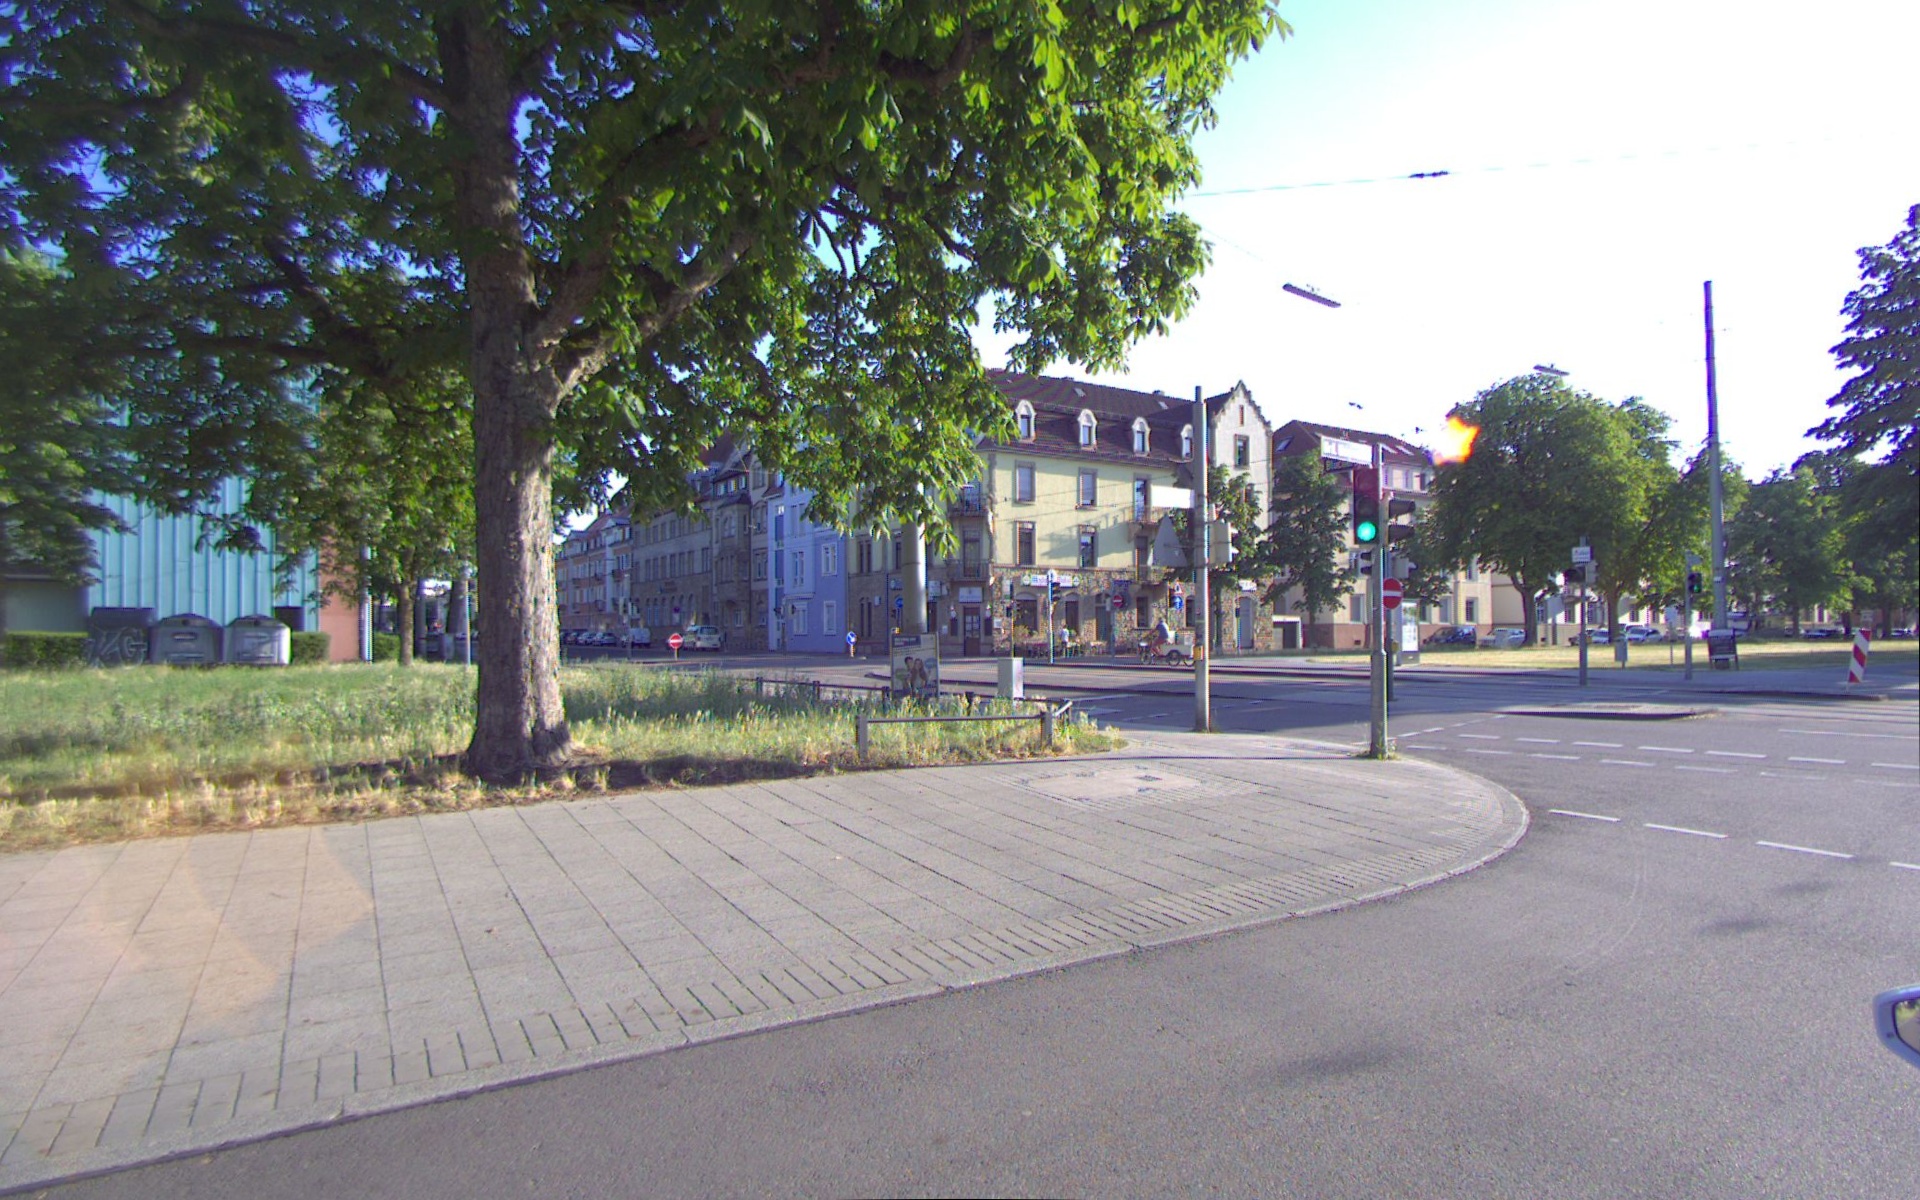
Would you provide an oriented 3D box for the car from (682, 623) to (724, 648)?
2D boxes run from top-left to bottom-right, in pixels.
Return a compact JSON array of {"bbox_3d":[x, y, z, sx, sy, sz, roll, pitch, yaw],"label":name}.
[{"bbox_3d":[-20.018,2.780,78.177,2.011,1.760,3.743,2,0,-34],"label":"car"}]

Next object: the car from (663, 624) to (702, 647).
[{"bbox_3d":[-22.967,2.899,83.145,1.980,1.763,3.962,1,0,-34],"label":"car"}]

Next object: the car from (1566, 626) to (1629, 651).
[{"bbox_3d":[46.452,2.812,73.193,4.517,1.681,1.984,2,0,-30],"label":"car"}]

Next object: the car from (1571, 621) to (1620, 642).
[{"bbox_3d":[52.833,2.632,83.458,4.142,1.654,1.707,2,0,-30],"label":"car"}]

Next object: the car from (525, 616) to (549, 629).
[{"bbox_3d":[-58.532,3.062,138.949,1.911,1.715,3.952,2,-1,-41],"label":"car"}]

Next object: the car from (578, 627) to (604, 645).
[{"bbox_3d":[-39.784,3.866,108.245,1.816,1.692,3.911,2,0,-34],"label":"car"}]

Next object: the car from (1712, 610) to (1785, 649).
[{"bbox_3d":[67.869,2.504,86.444,7.764,3.173,2.379,1,1,-32],"label":"car"}]

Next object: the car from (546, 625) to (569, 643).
[{"bbox_3d":[-48.986,4.107,122.097,1.805,2.040,3.924,2,0,-34],"label":"car"}]

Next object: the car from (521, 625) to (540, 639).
[{"bbox_3d":[-57.560,4.321,134.599,1.713,1.694,3.638,2,0,-33],"label":"car"}]

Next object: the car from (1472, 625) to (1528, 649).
[{"bbox_3d":[40.956,2.796,76.214,3.953,1.681,1.984,2,0,-30],"label":"car"}]

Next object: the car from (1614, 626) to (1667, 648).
[{"bbox_3d":[51.618,2.779,76.192,4.372,1.575,1.785,0,1,-34],"label":"car"}]

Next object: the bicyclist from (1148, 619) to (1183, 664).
[{"bbox_3d":[8.068,1.629,39.461,0.864,1.746,1.141,1,-3,-27],"label":"bicyclist"}]

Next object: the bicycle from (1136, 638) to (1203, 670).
[{"bbox_3d":[8.137,2.098,39.281,0.863,1.176,3.063,1,-3,-26],"label":"bicycle"}]

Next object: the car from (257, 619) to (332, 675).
[{"bbox_3d":[-22.731,1.546,34.352,1.979,1.693,5.175,2,-1,-34],"label":"car"}]

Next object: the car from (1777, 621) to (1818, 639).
[{"bbox_3d":[86.989,3.135,104.329,4.323,1.681,1.984,2,0,-30],"label":"car"}]

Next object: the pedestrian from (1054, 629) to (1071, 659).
[{"bbox_3d":[5.751,2.463,56.292,0.676,1.646,0.612,2,0,-34],"label":"pedestrian"}]

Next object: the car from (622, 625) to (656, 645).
[{"bbox_3d":[-30.007,3.232,93.919,1.980,1.694,3.743,2,0,-34],"label":"car"}]

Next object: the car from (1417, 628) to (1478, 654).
[{"bbox_3d":[35.569,3.005,73.249,4.261,1.759,1.984,2,0,-30],"label":"car"}]

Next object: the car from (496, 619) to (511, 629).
[{"bbox_3d":[-71.143,3.790,156.657,1.534,1.387,3.428,2,0,-34],"label":"car"}]

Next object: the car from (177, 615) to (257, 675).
[{"bbox_3d":[-24.604,1.439,33.336,1.949,1.694,5.169,2,0,-36],"label":"car"}]

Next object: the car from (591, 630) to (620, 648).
[{"bbox_3d":[-36.586,3.994,103.645,1.980,1.694,3.743,2,0,-34],"label":"car"}]

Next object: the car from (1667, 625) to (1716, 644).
[{"bbox_3d":[66.840,3.150,91.733,4.517,1.681,1.984,2,0,-30],"label":"car"}]

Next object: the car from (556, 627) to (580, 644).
[{"bbox_3d":[-46.001,4.137,117.735,1.782,1.855,3.755,2,0,-34],"label":"car"}]

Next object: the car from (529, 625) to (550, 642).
[{"bbox_3d":[-54.772,4.373,130.900,1.756,2.040,3.790,2,0,-34],"label":"car"}]

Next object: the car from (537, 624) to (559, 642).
[{"bbox_3d":[-51.964,4.171,126.666,1.789,2.040,3.772,2,0,-33],"label":"car"}]

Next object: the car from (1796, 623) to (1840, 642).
[{"bbox_3d":[80.821,3.051,94.627,4.266,1.696,1.869,2,0,-31],"label":"car"}]

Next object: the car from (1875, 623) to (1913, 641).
[{"bbox_3d":[97.849,3.380,105.231,4.075,1.804,1.802,2,0,-31],"label":"car"}]
